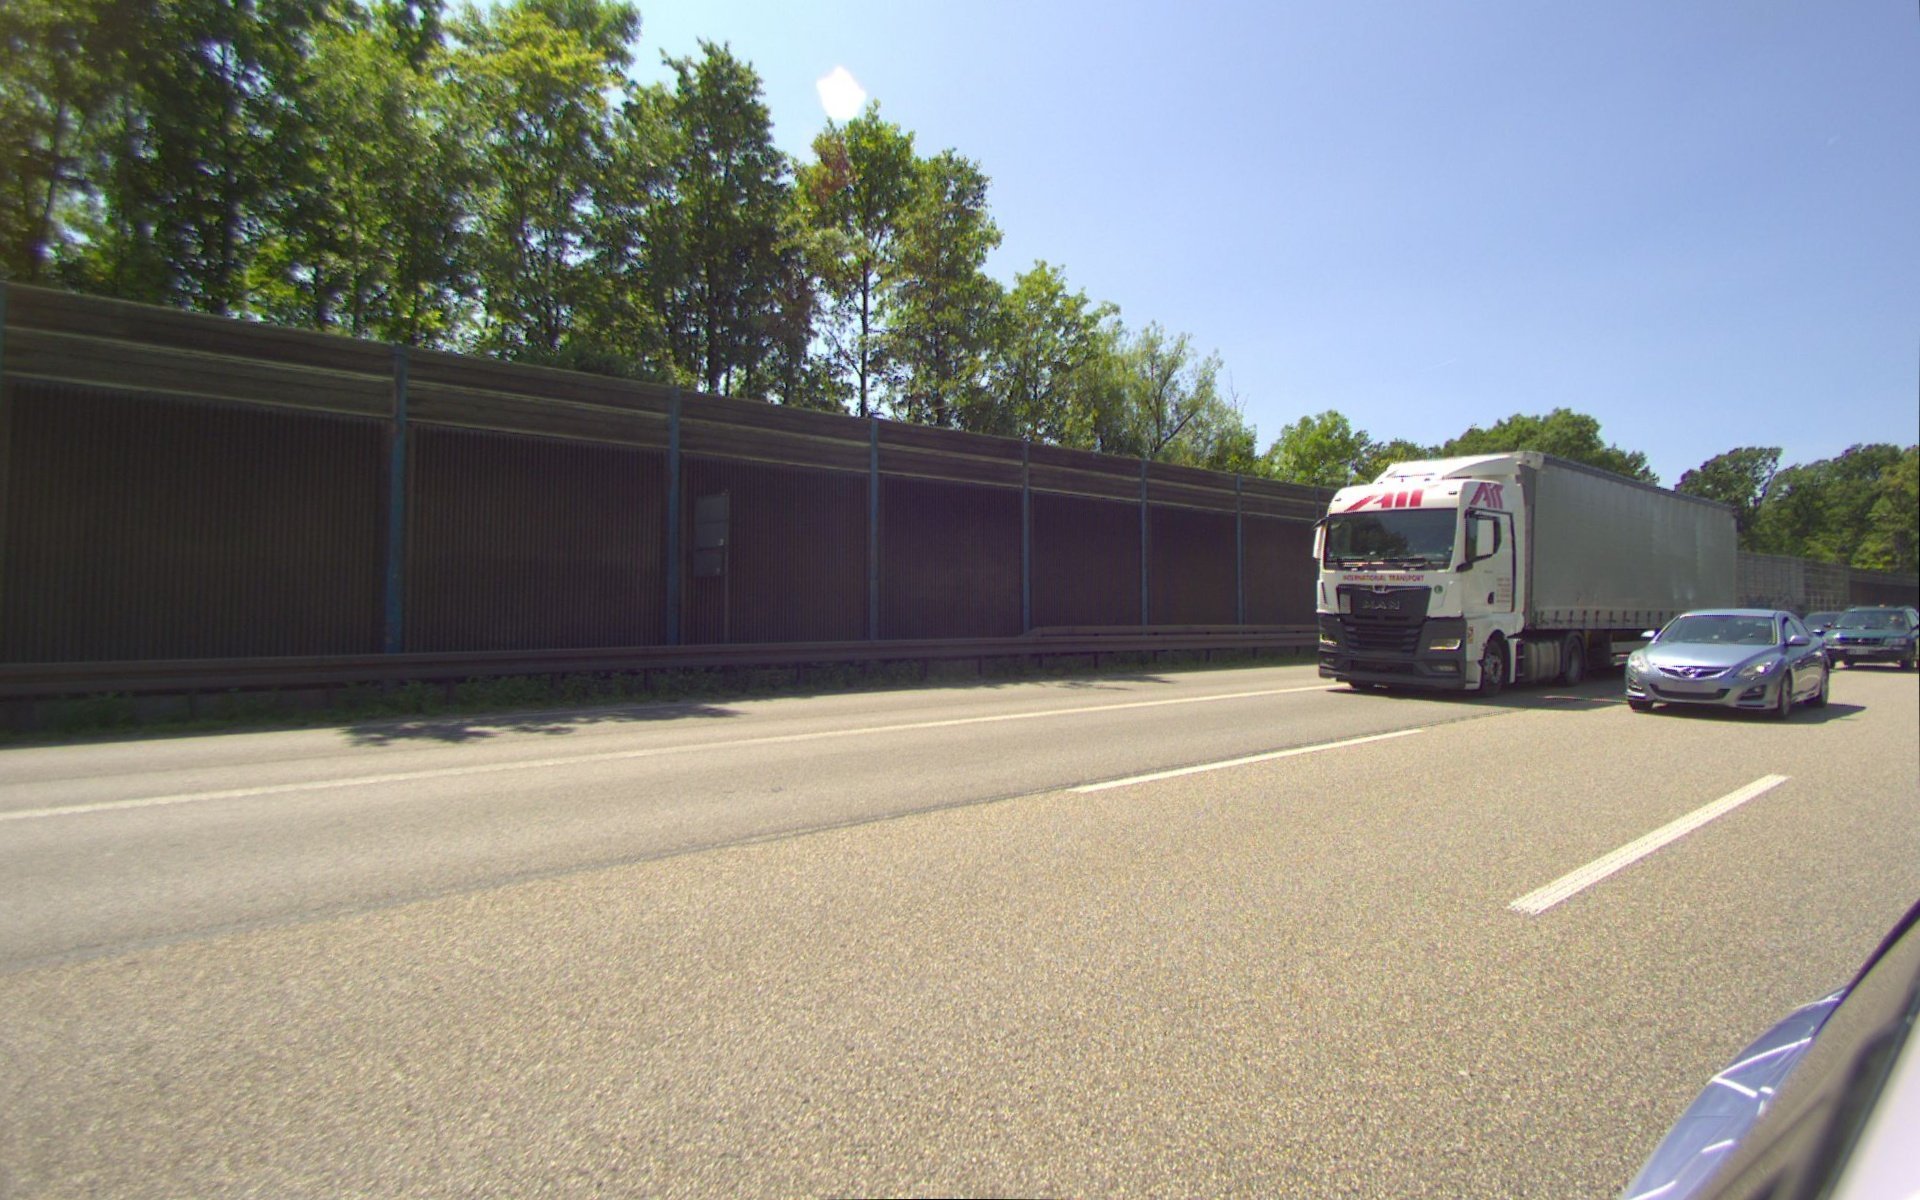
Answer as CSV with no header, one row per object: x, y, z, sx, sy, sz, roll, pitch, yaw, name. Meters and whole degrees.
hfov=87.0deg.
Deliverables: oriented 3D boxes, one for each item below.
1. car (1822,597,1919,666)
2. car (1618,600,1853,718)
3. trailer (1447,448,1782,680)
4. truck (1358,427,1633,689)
23.060,0.751,24.991,3.925,1.579,1.908,1,-1,-37,car
11.210,0.753,14.542,4.102,1.452,1.859,1,-1,-40,car
15.670,-0.643,23.395,13.348,4.142,2.604,0,0,-40,trailer
10.001,-0.671,18.710,5.453,4.142,2.604,0,0,-39,truck
